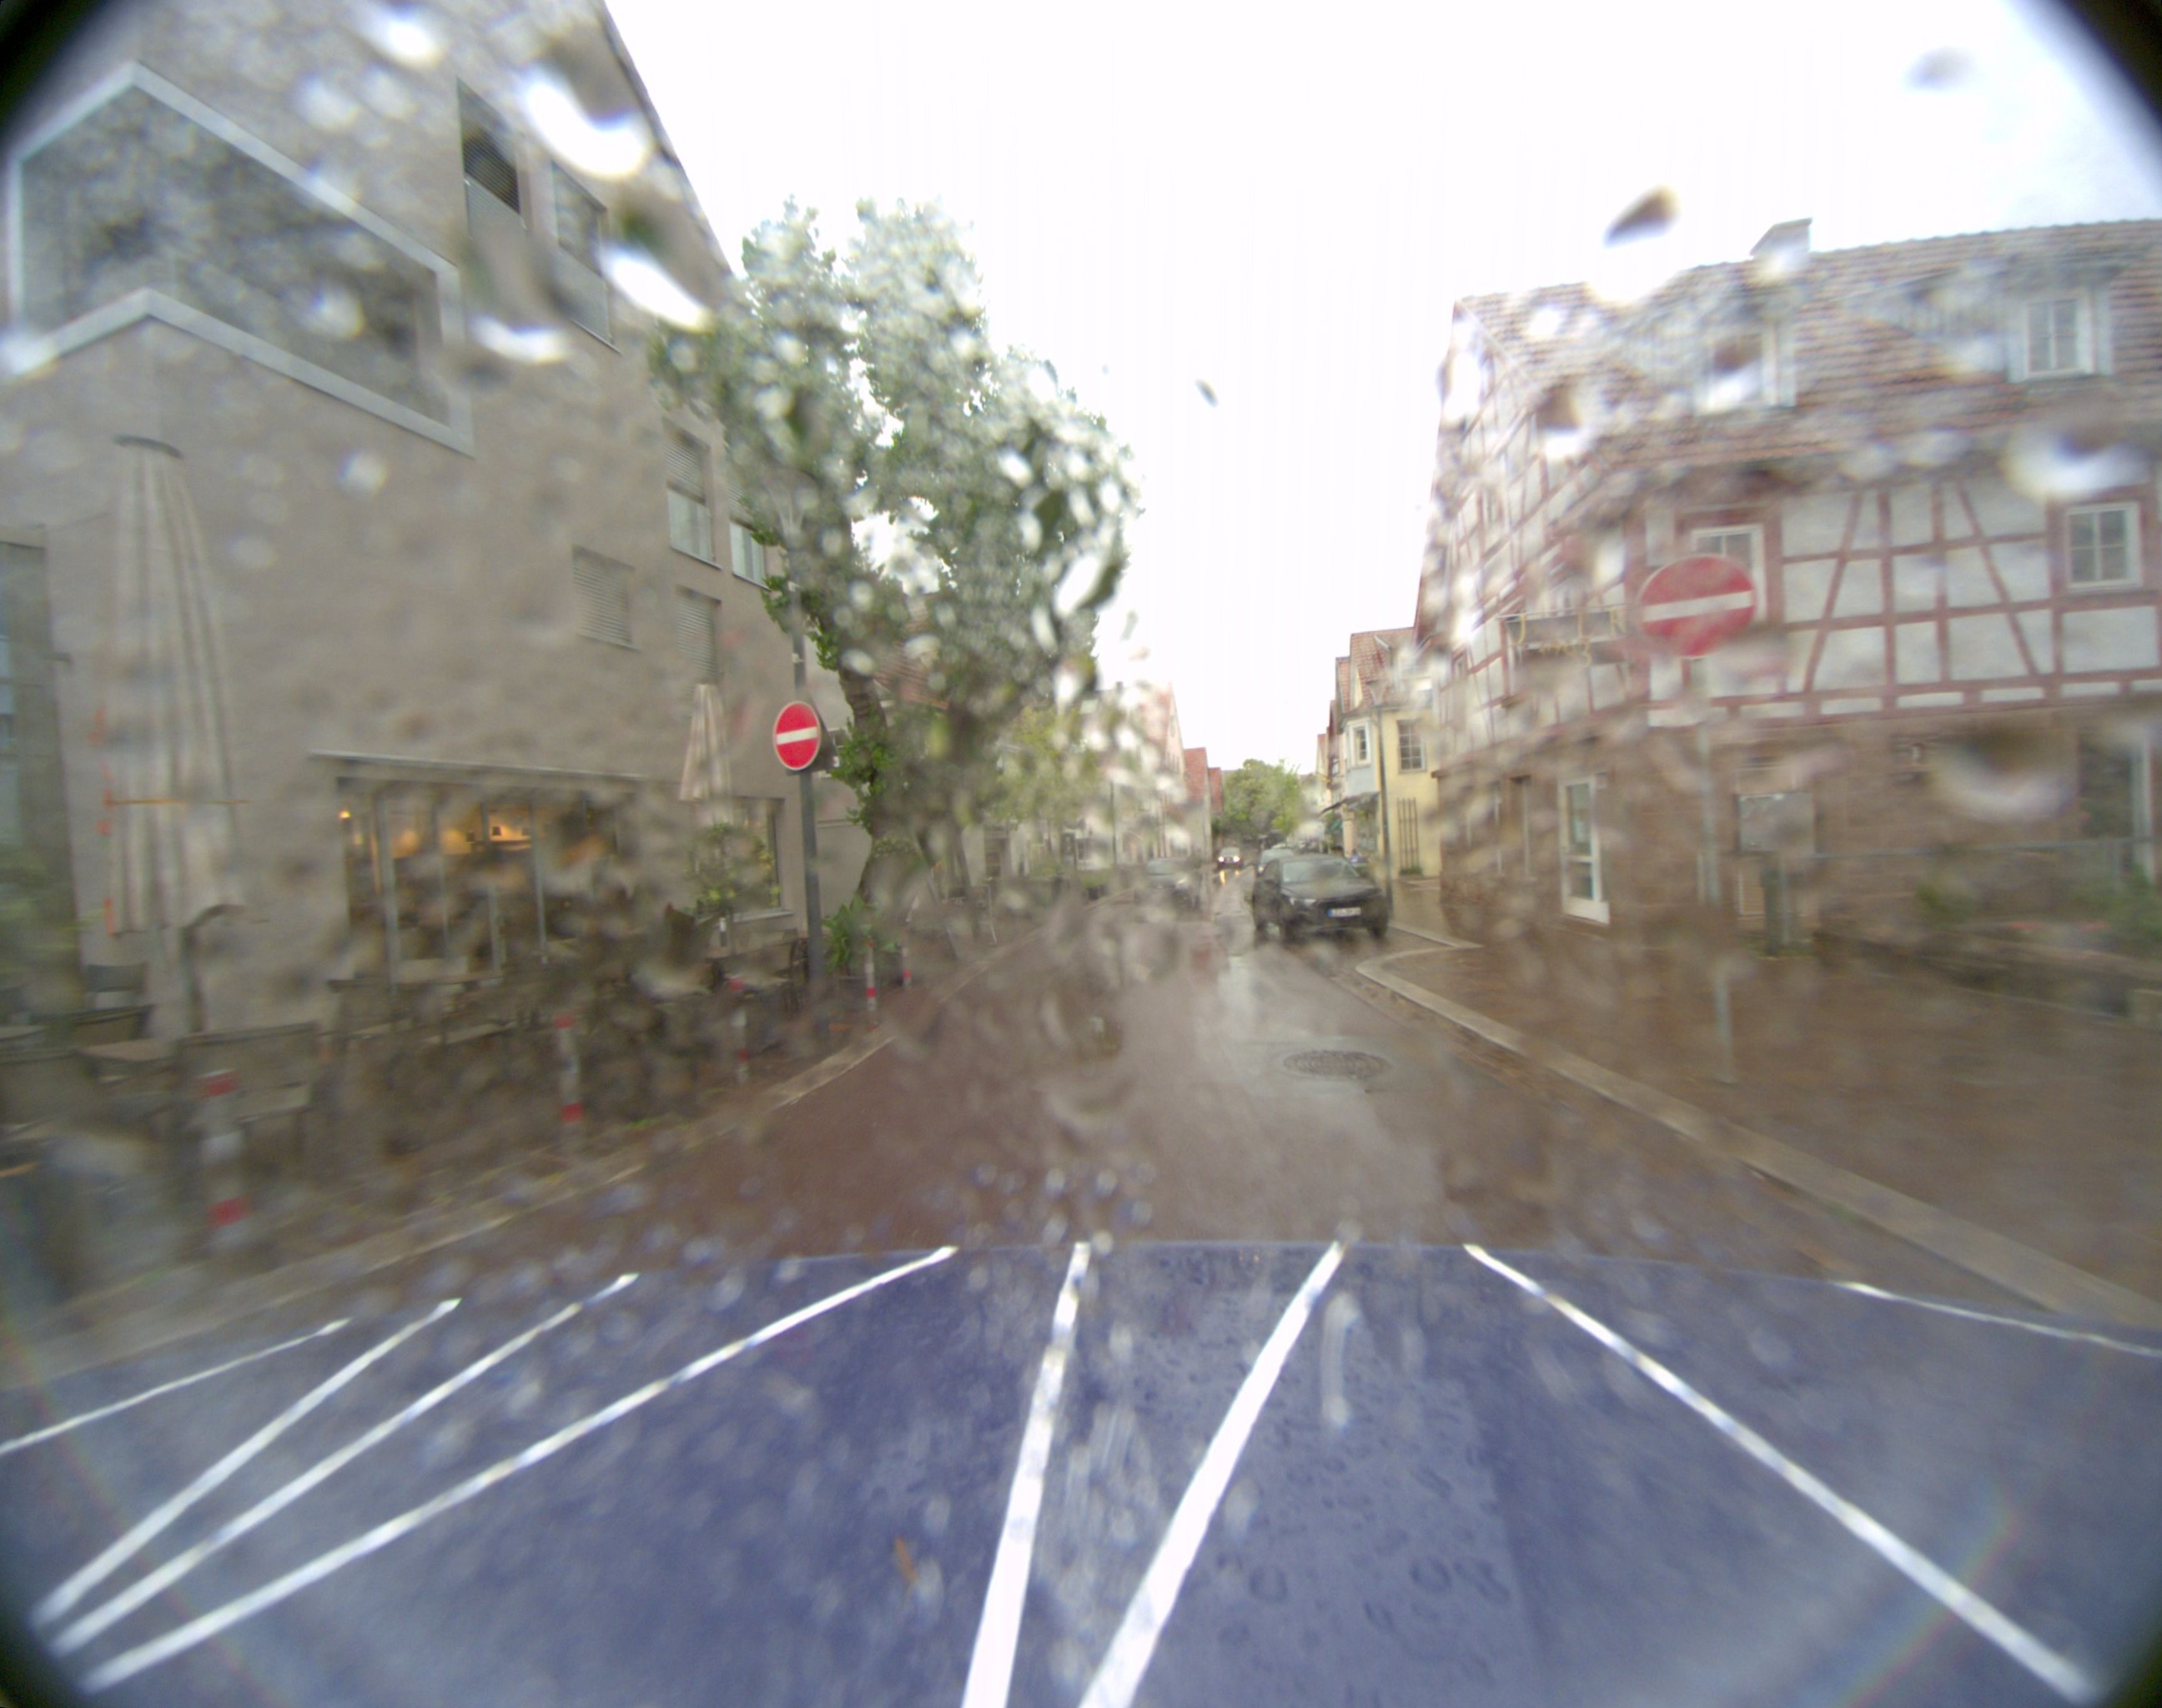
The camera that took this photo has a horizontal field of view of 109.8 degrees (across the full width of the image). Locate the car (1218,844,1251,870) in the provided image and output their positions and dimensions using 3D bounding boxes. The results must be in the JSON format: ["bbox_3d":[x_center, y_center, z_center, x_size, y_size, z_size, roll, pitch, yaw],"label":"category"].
[{"bbox_3d":[11.374,0.184,56.002,1.996,1.740,4.004,-2,1,16],"label":"car"}]

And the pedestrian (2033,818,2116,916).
[{"bbox_3d":[12.054,0.150,9.226,0.412,1.147,0.424,-3,0,7],"label":"pedestrian"}]

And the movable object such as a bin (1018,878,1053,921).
[{"bbox_3d":[-1.177,1.189,19.861,0.765,1.068,0.538,-2,1,8],"label":"movable object such as a bin"}]

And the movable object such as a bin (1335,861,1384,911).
[{"bbox_3d":[6.538,0.734,17.891,0.834,1.105,0.919,-2,1,5],"label":"movable object such as a bin"}]

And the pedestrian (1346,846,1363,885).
[{"bbox_3d":[9.427,0.383,26.160,0.454,1.300,0.518,-2,1,14],"label":"pedestrian"}]

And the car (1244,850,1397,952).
[{"bbox_3d":[4.242,0.744,14.119,1.693,1.477,4.001,-5,0,3],"label":"car"}]

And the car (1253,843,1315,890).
[{"bbox_3d":[7.701,0.431,29.124,1.997,1.520,4.003,-5,0,13],"label":"car"}]

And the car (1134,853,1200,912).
[{"bbox_3d":[2.724,0.816,23.358,1.735,1.546,3.847,-2,1,10],"label":"car"}]
